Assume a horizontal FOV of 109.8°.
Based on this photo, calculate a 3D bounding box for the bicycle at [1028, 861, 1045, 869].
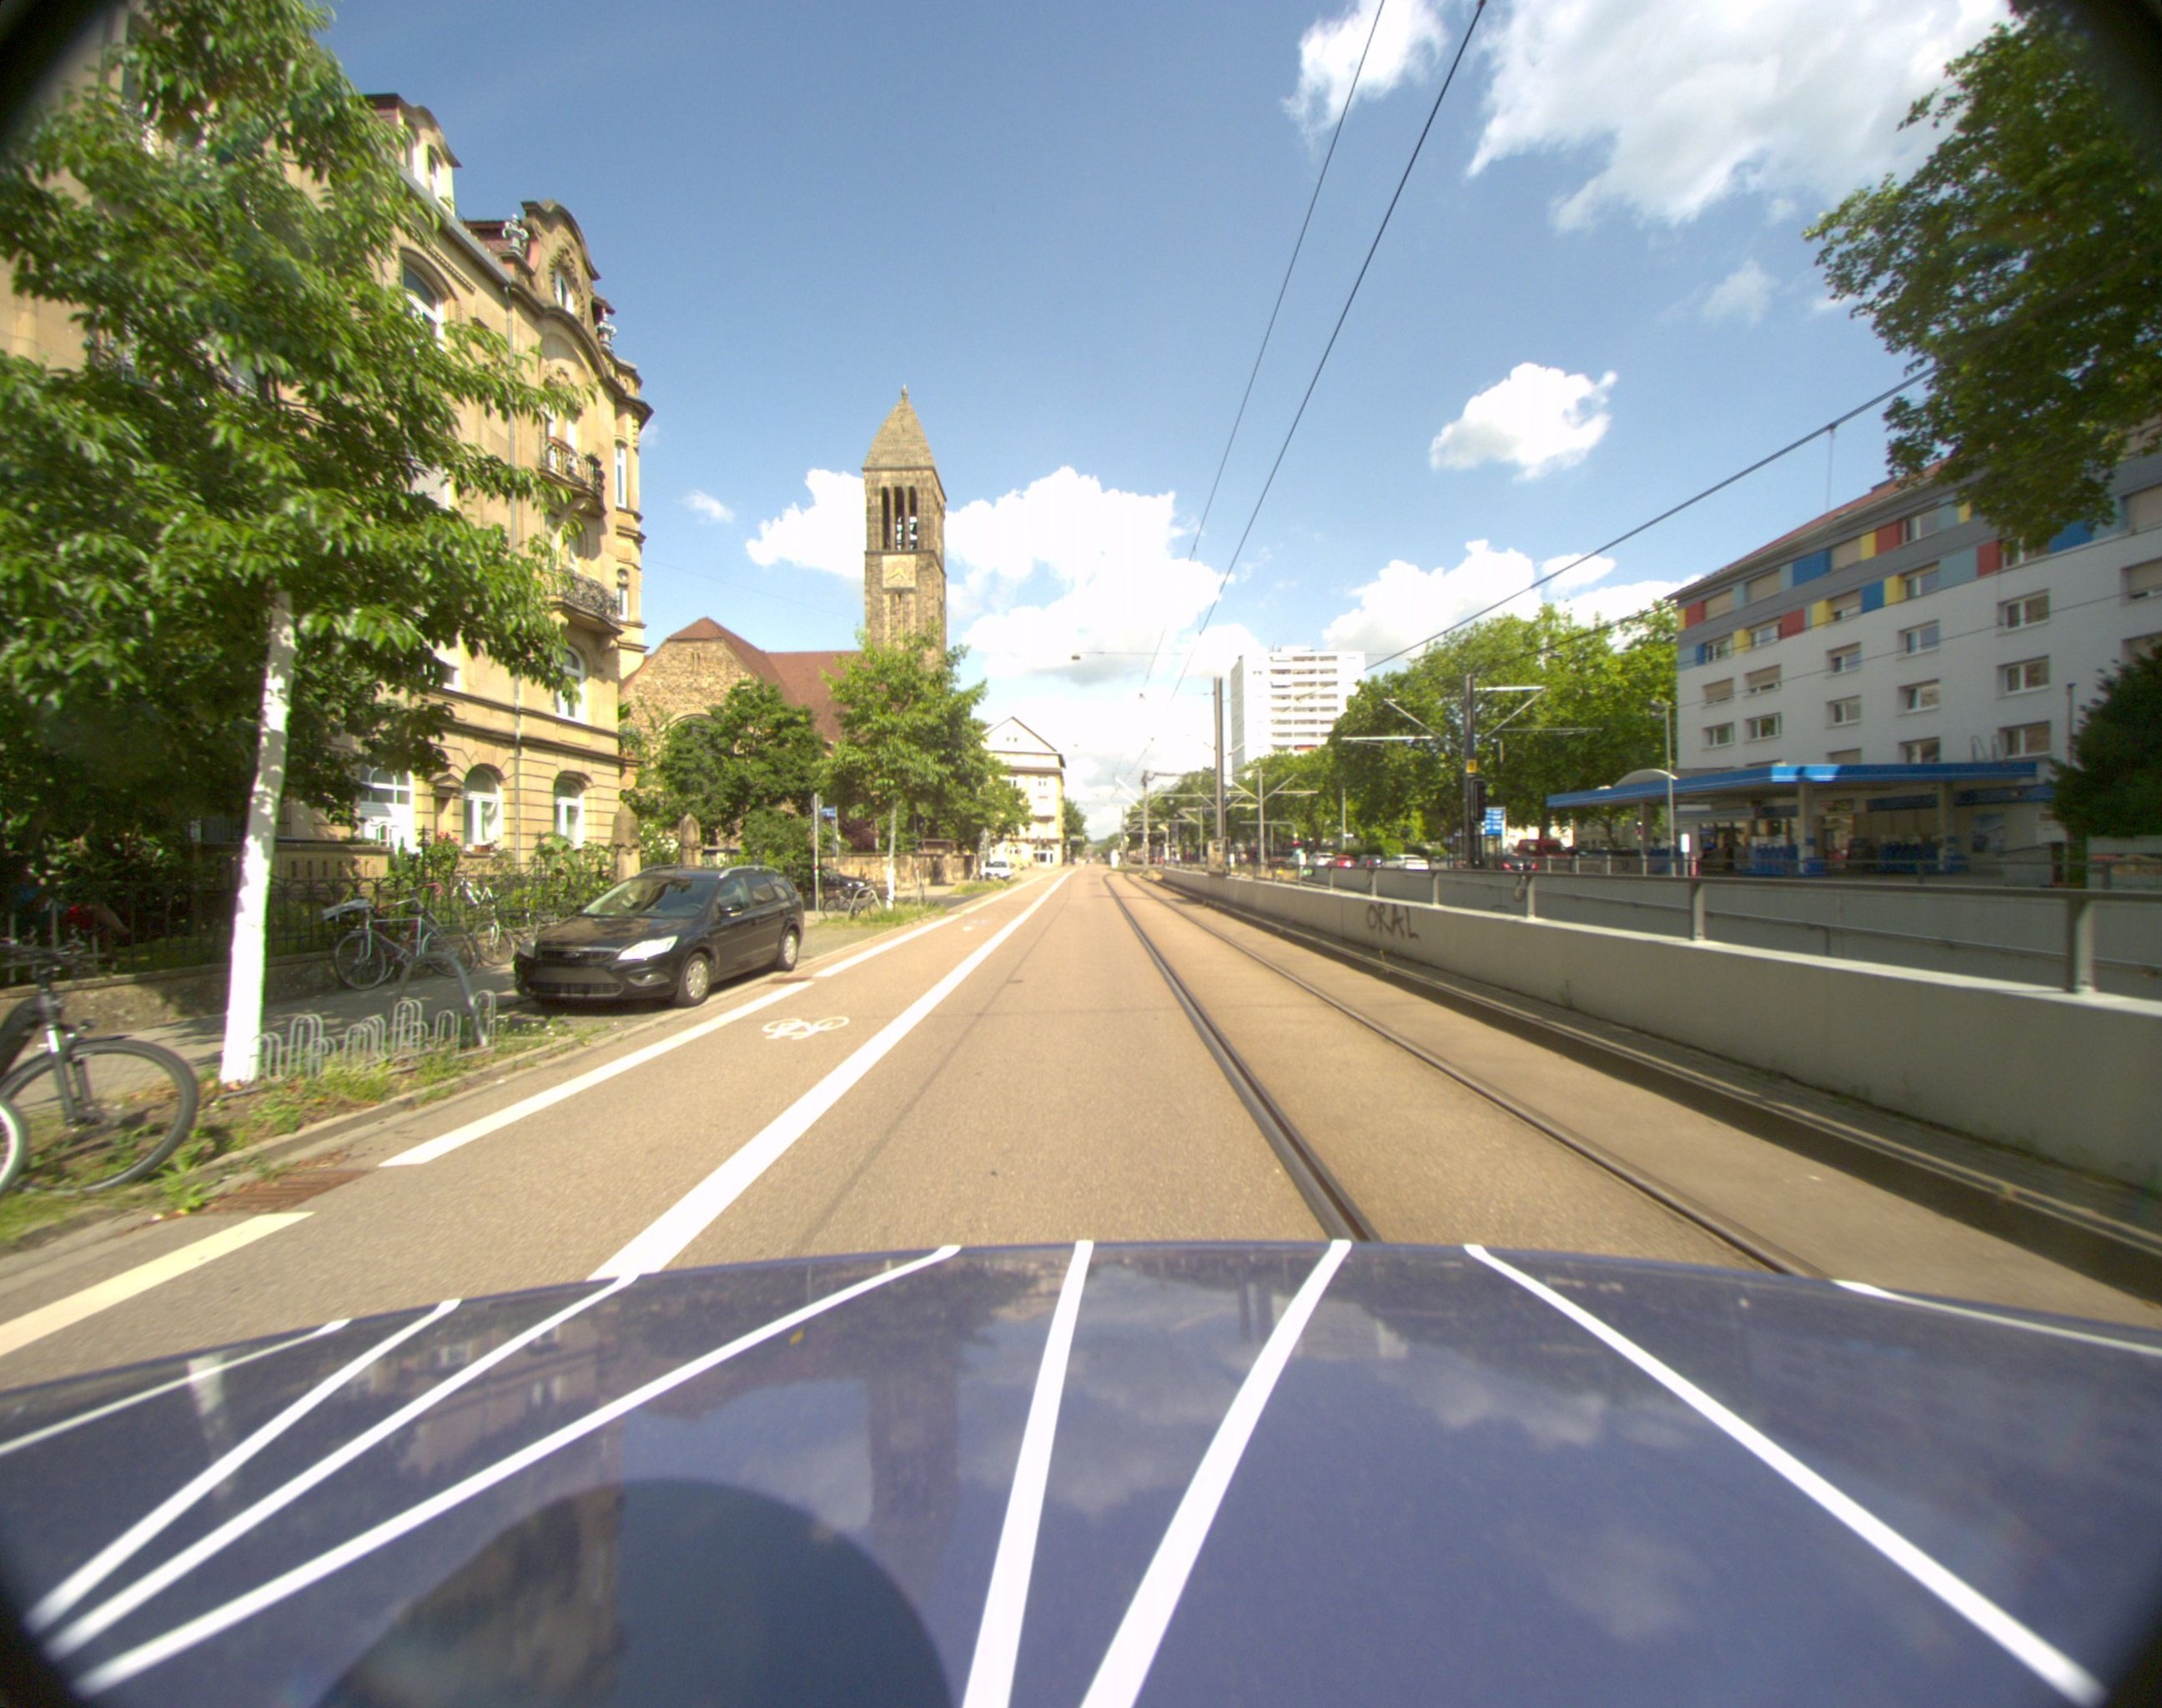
[{"bbox_3d":[-6.055,1.472,103.568,2.137,0.983,0.651,-1,0,-24],"label":"bicycle"}]

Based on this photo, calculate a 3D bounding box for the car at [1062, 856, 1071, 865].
[{"bbox_3d":[-3.032,1.299,161.435,1.851,1.779,4.000,2,0,0],"label":"car"}]

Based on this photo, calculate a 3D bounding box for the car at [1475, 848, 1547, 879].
[{"bbox_3d":[20.895,0.468,37.067,1.672,1.408,3.784,-1,0,6],"label":"car"}]

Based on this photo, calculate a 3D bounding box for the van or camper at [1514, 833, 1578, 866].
[{"bbox_3d":[38.656,-0.346,63.335,2.107,2.626,5.350,2,0,2],"label":"van or camper"}]

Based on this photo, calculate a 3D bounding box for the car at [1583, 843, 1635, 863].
[{"bbox_3d":[44.183,-0.045,63.630,1.530,1.594,4.000,1,0,0],"label":"car"}]

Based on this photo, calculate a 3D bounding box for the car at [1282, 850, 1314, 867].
[{"bbox_3d":[22.311,0.445,78.222,1.871,1.642,5.154,1,0,1],"label":"car"}]

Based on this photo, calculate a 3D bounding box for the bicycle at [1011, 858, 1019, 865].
[{"bbox_3d":[-10.168,1.213,116.726,0.611,1.013,1.872,-1,2,-28],"label":"bicycle"}]

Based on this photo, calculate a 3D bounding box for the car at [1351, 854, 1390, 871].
[{"bbox_3d":[21.642,0.619,56.866,1.620,1.182,3.634,-1,0,2],"label":"car"}]

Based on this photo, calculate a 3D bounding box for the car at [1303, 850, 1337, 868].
[{"bbox_3d":[22.202,0.464,70.694,1.764,1.597,4.678,-1,1,0],"label":"car"}]

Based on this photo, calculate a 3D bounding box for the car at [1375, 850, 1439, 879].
[{"bbox_3d":[21.562,0.740,50.559,1.952,1.596,5.078,-8,-2,1],"label":"car"}]

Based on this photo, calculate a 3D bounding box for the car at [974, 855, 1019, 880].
[{"bbox_3d":[-5.084,0.804,46.023,1.671,1.408,3.847,-3,-1,9],"label":"car"}]

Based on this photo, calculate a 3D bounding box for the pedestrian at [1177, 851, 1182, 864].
[{"bbox_3d":[12.422,0.431,95.605,0.528,1.722,0.557,1,0,-4],"label":"pedestrian"}]

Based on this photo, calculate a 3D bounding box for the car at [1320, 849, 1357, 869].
[{"bbox_3d":[21.542,0.429,63.773,1.716,1.597,4.145,-1,-2,0],"label":"car"}]

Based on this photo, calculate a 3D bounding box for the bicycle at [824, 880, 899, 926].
[{"bbox_3d":[-5.434,1.214,18.868,1.711,1.063,0.471,-1,1,-5],"label":"bicycle"}]

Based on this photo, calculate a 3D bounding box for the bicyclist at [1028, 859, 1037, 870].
[{"bbox_3d":[-6.583,1.436,103.544,0.923,1.494,0.651,-1,-3,-29],"label":"bicyclist"}]

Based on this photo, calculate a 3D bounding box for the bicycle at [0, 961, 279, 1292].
[{"bbox_3d":[-5.582,1.200,3.282,2.957,1.239,0.792,-1,1,-12],"label":"bicycle"}]

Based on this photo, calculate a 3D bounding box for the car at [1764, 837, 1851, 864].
[{"bbox_3d":[60.691,-0.284,63.645,1.999,2.074,5.251,2,0,-4],"label":"car"}]

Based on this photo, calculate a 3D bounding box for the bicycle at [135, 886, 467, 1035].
[{"bbox_3d":[-8.478,1.053,8.564,0.659,1.241,2.943,2,0,1],"label":"bicycle"}]

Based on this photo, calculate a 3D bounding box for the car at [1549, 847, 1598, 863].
[{"bbox_3d":[41.507,0.111,64.088,1.477,1.286,4.000,2,0,0],"label":"car"}]

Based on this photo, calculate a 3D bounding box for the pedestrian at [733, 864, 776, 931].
[{"bbox_3d":[-8.196,1.085,19.073,0.725,1.619,0.725,-1,1,1],"label":"pedestrian"}]

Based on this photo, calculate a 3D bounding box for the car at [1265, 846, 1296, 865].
[{"bbox_3d":[22.303,0.230,85.312,2.080,1.974,5.337,-1,-2,0],"label":"car"}]

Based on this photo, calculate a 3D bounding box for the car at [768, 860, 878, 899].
[{"bbox_3d":[-11.451,1.106,33.896,4.263,1.547,1.756,-1,3,-1],"label":"car"}]

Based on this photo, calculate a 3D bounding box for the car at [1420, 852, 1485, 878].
[{"bbox_3d":[21.126,0.617,43.428,1.726,1.408,4.406,0,0,2],"label":"car"}]

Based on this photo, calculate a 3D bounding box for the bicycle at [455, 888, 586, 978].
[{"bbox_3d":[-8.342,1.126,11.420,0.428,1.133,2.023,2,0,1],"label":"bicycle"}]

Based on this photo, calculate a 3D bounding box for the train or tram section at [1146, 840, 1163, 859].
[{"bbox_3d":[14.213,-0.805,147.674,2.802,3.540,11.379,-1,0,3],"label":"train or tram section"}]

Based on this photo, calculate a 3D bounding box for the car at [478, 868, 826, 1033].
[{"bbox_3d":[-4.983,0.991,9.773,1.690,1.493,4.708,-1,0,1],"label":"car"}]

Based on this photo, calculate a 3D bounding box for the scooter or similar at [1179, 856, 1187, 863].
[{"bbox_3d":[12.871,0.709,95.637,0.840,0.799,0.553,-1,0,-4],"label":"scooter or similar"}]
